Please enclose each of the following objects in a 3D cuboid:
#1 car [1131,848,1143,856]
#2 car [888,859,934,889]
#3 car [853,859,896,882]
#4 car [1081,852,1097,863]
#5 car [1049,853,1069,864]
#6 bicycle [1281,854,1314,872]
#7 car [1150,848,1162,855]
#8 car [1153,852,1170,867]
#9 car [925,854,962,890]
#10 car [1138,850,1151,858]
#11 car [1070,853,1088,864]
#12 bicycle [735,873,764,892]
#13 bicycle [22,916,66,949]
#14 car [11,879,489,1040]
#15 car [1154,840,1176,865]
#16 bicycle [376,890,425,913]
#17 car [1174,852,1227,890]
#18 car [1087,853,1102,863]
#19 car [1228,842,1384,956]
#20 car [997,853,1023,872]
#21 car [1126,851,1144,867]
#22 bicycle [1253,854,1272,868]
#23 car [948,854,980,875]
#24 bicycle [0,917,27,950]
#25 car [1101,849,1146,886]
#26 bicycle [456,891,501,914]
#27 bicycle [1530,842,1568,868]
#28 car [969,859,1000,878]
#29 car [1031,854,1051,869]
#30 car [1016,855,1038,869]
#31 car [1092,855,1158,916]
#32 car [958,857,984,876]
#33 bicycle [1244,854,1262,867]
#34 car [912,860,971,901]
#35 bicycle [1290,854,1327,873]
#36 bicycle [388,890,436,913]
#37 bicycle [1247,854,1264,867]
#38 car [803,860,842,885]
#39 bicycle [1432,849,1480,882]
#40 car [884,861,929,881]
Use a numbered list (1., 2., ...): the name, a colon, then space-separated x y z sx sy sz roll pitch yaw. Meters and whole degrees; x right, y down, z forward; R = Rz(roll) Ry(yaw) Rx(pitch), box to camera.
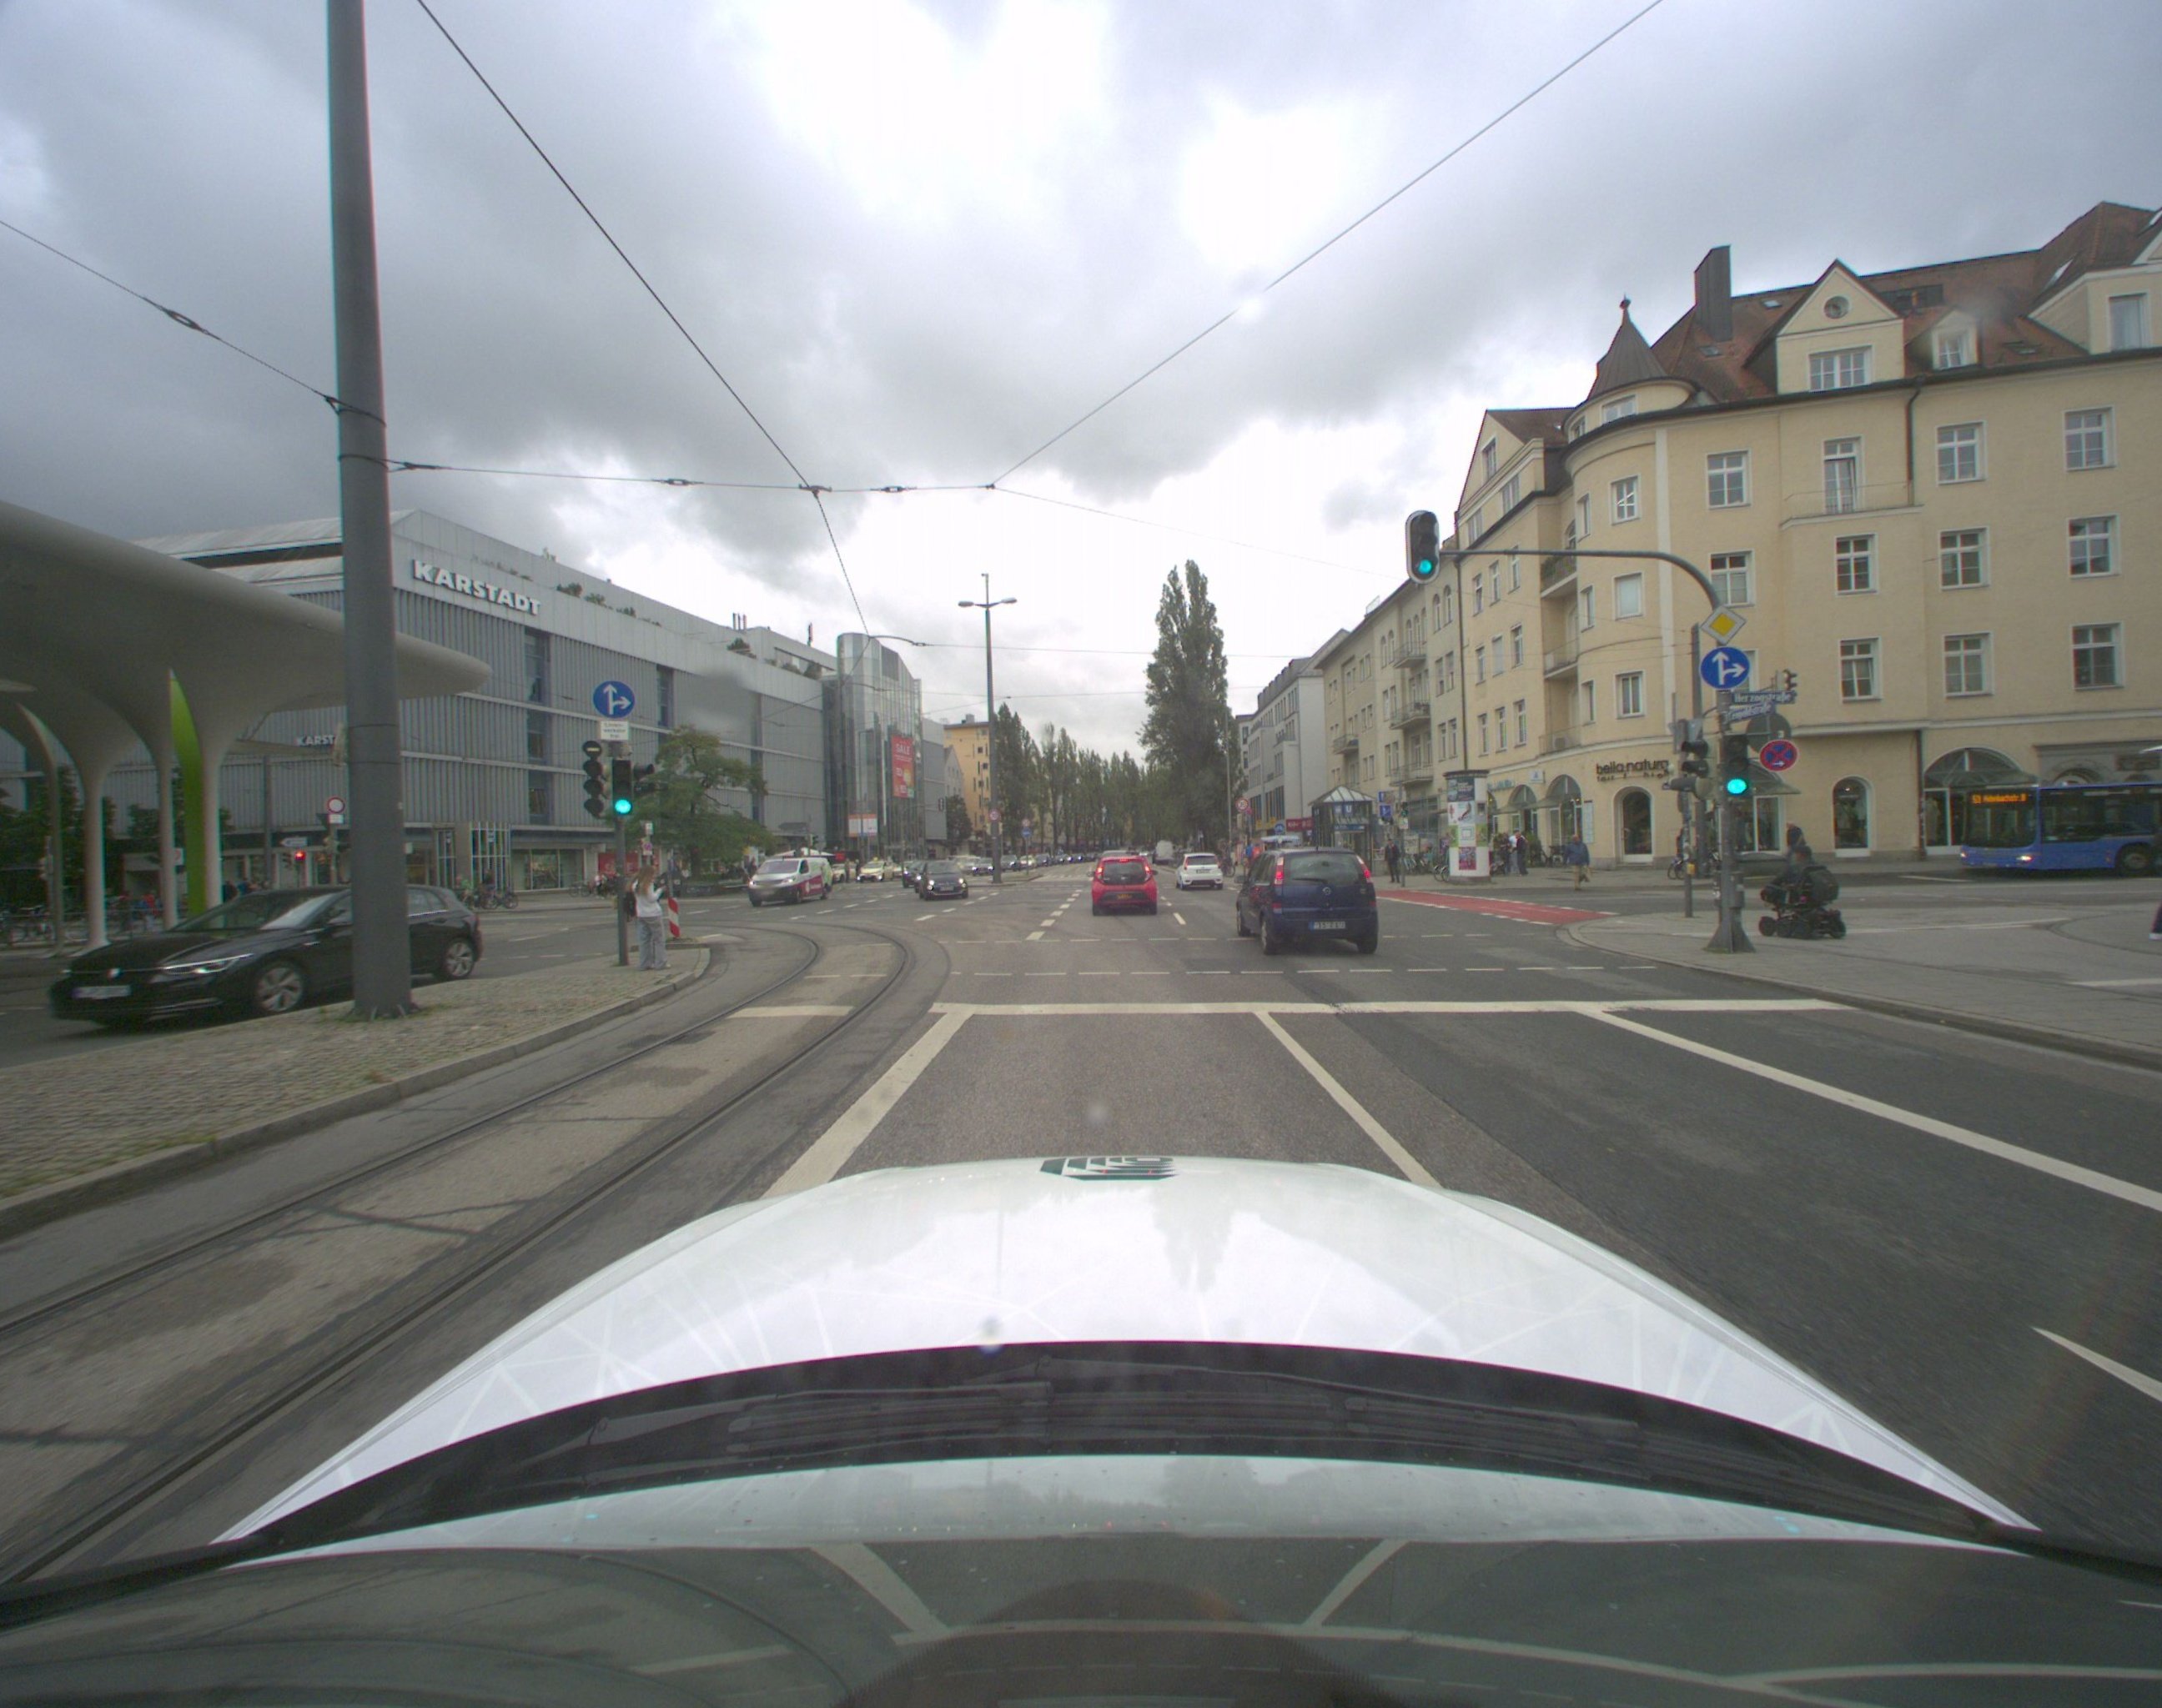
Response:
1. car: 13.224 -0.451 193.059 1.979 1.691 4.431 -2 0 15
2. car: -9.581 1.085 46.198 1.658 1.508 4.281 -2 0 0
3. car: -15.527 1.195 61.448 1.893 1.543 4.396 -2 0 3
4. car: 1.344 0.588 134.268 1.983 1.691 4.931 -2 0 7
5. car: -3.053 0.606 112.626 1.833 1.382 4.613 -1 -1 10
6. bicycle: 12.662 0.515 47.621 1.747 0.964 0.453 -2 0 2
7. car: 17.997 -0.583 195.708 1.979 1.691 4.431 -2 0 15
8. car: 9.622 0.642 97.542 1.696 1.662 3.558 -2 0 2
9. car: -6.183 0.834 36.882 1.502 1.535 2.830 0 -2 -7
10. car: 14.335 0.000 183.168 1.979 1.691 4.431 -2 0 15
11. car: -0.288 0.637 124.509 1.981 1.534 4.600 -2 0 10
12. bicycle: -19.859 1.722 48.782 1.566 1.112 0.374 -2 0 5
13. bicycle: -32.336 2.439 25.403 0.457 0.939 1.711 -1 -2 -38
14. car: -9.715 1.106 10.116 1.838 1.416 4.031 -2 0 -2
15. car: 9.360 -0.148 91.333 2.098 2.718 4.807 -2 0 3
16. bicycle: -31.813 2.220 38.101 0.525 0.998 1.987 -2 -2 3
17. car: 4.818 0.662 33.223 1.693 1.426 3.498 -2 0 1
18. car: 2.399 0.640 142.080 1.982 1.691 4.933 -2 0 9
19. car: 3.546 0.650 13.467 1.696 1.589 3.558 -2 0 2
20. car: -6.851 0.791 78.706 1.735 1.670 4.737 -2 0 3
21. car: 6.517 0.603 98.080 1.986 1.838 4.002 -2 0 2
22. bicycle: 12.789 0.501 57.421 1.177 0.963 0.369 -2 0 0
23. car: -12.555 1.085 87.852 1.983 2.013 5.533 -3 1 6
24. bicycle: -32.817 2.439 24.954 1.709 0.939 0.458 -3 -2 44
25. car: 1.969 0.604 38.561 1.986 1.618 4.002 -2 0 2
26. bicycle: -27.929 2.232 37.769 0.525 0.998 1.987 -2 -2 3
27. bicycle: 20.747 0.043 36.165 0.493 1.089 1.864 -2 0 -4
28. car: -7.840 1.176 66.494 1.987 1.412 4.167 0 0 0
29. car: -4.887 0.947 99.886 1.928 1.739 4.592 -2 0 3
30. car: -5.894 0.823 89.121 1.758 1.421 4.642 -2 0 3
31. car: 1.143 0.761 21.218 1.598 1.461 3.132 0 0 3
32. car: -10.014 1.135 74.166 1.692 1.596 4.001 -2 0 1
33. bicycle: 13.019 0.479 61.725 1.255 0.963 0.370 -2 0 4
34. car: -5.468 0.990 31.627 1.551 1.445 3.514 -3 0 -21
35. bicycle: 12.509 0.537 44.818 1.832 0.964 0.509 -2 0 0
36. bicycle: -31.190 2.222 38.014 0.525 0.998 1.987 -2 -2 3
37. bicycle: 12.943 0.476 60.438 1.229 0.963 0.367 -2 0 -20
38. car: -18.039 1.282 57.045 1.994 1.536 4.399 -3 1 -10
39. bicycle: 14.457 0.432 31.406 1.561 1.160 0.525 -3 2 4
40. car: -14.591 1.409 68.457 1.980 1.508 4.649 -2 0 11
